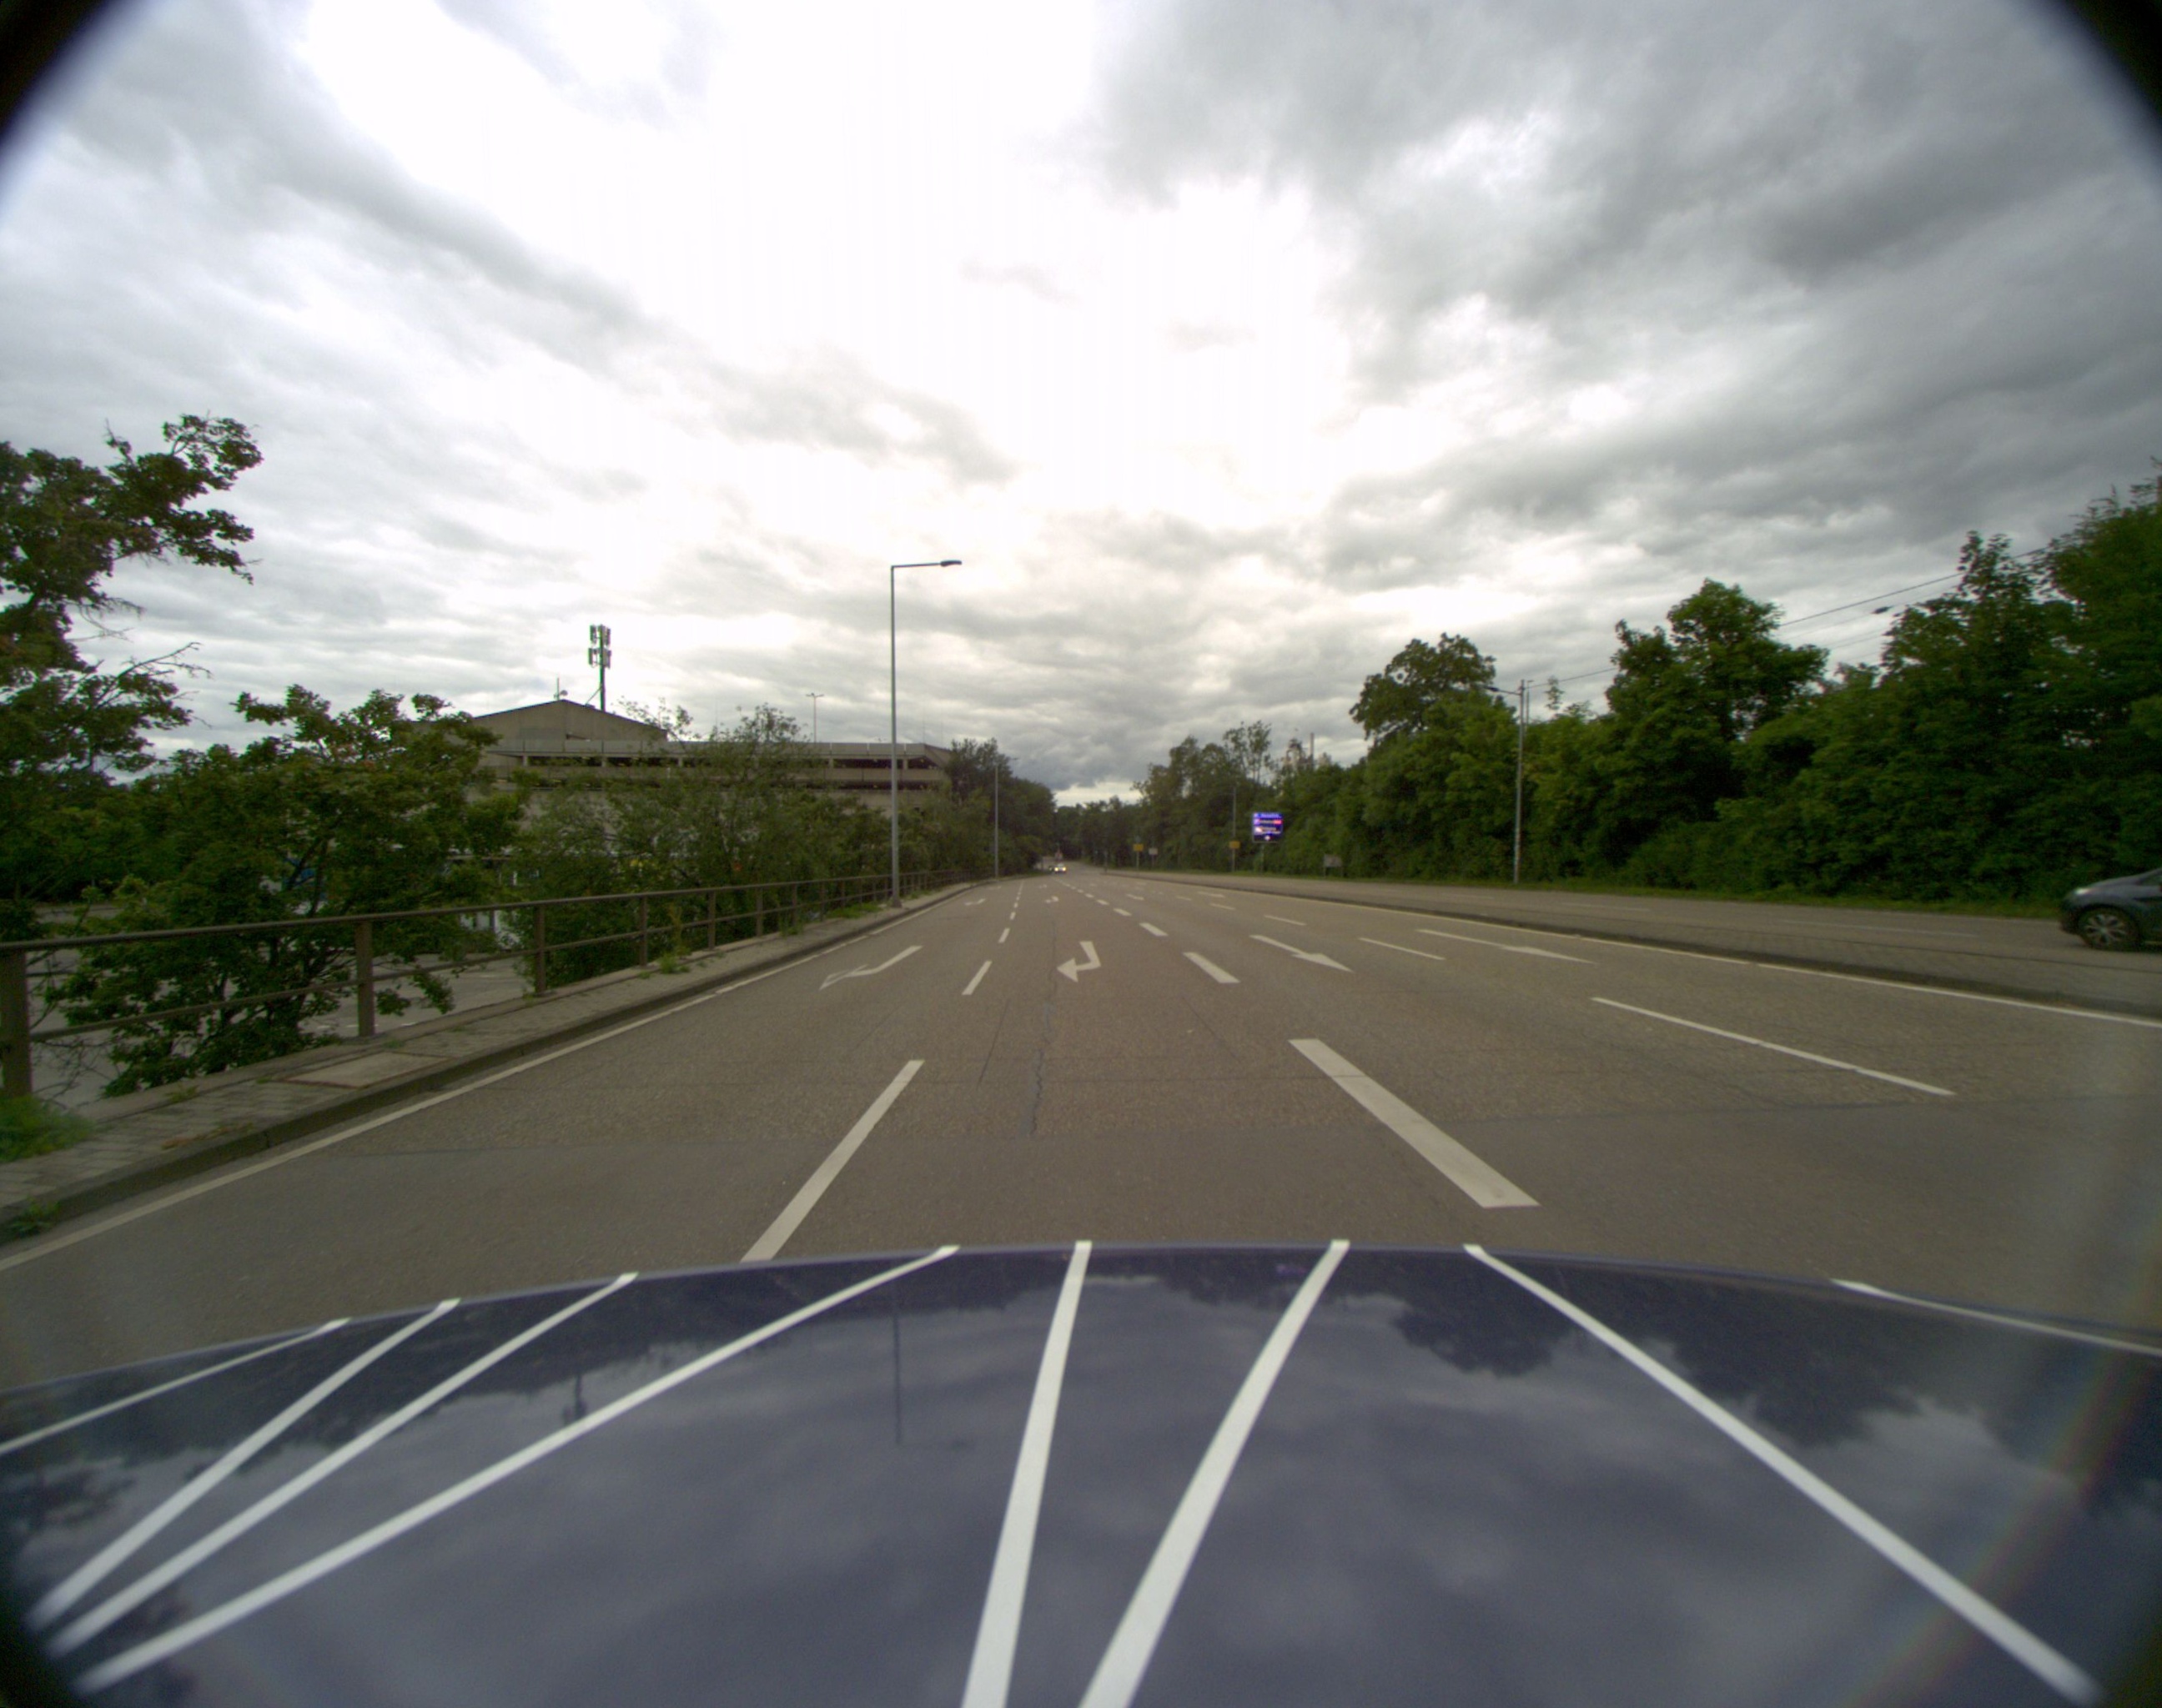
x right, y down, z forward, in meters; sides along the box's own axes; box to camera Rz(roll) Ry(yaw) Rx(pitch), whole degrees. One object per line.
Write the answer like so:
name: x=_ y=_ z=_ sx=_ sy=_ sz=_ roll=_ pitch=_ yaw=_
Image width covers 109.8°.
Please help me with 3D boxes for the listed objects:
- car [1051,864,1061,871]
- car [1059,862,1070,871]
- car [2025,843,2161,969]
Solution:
car: x=-5.169 y=2.800 z=158.184 sx=1.864 sy=1.408 sz=4.339 roll=-2 pitch=0 yaw=1
car: x=-2.487 y=1.906 z=115.835 sx=1.609 sy=1.408 sz=3.591 roll=-2 pitch=0 yaw=1
car: x=13.748 y=0.619 z=8.360 sx=1.703 sy=1.455 sz=3.999 roll=-2 pitch=0 yaw=-1
